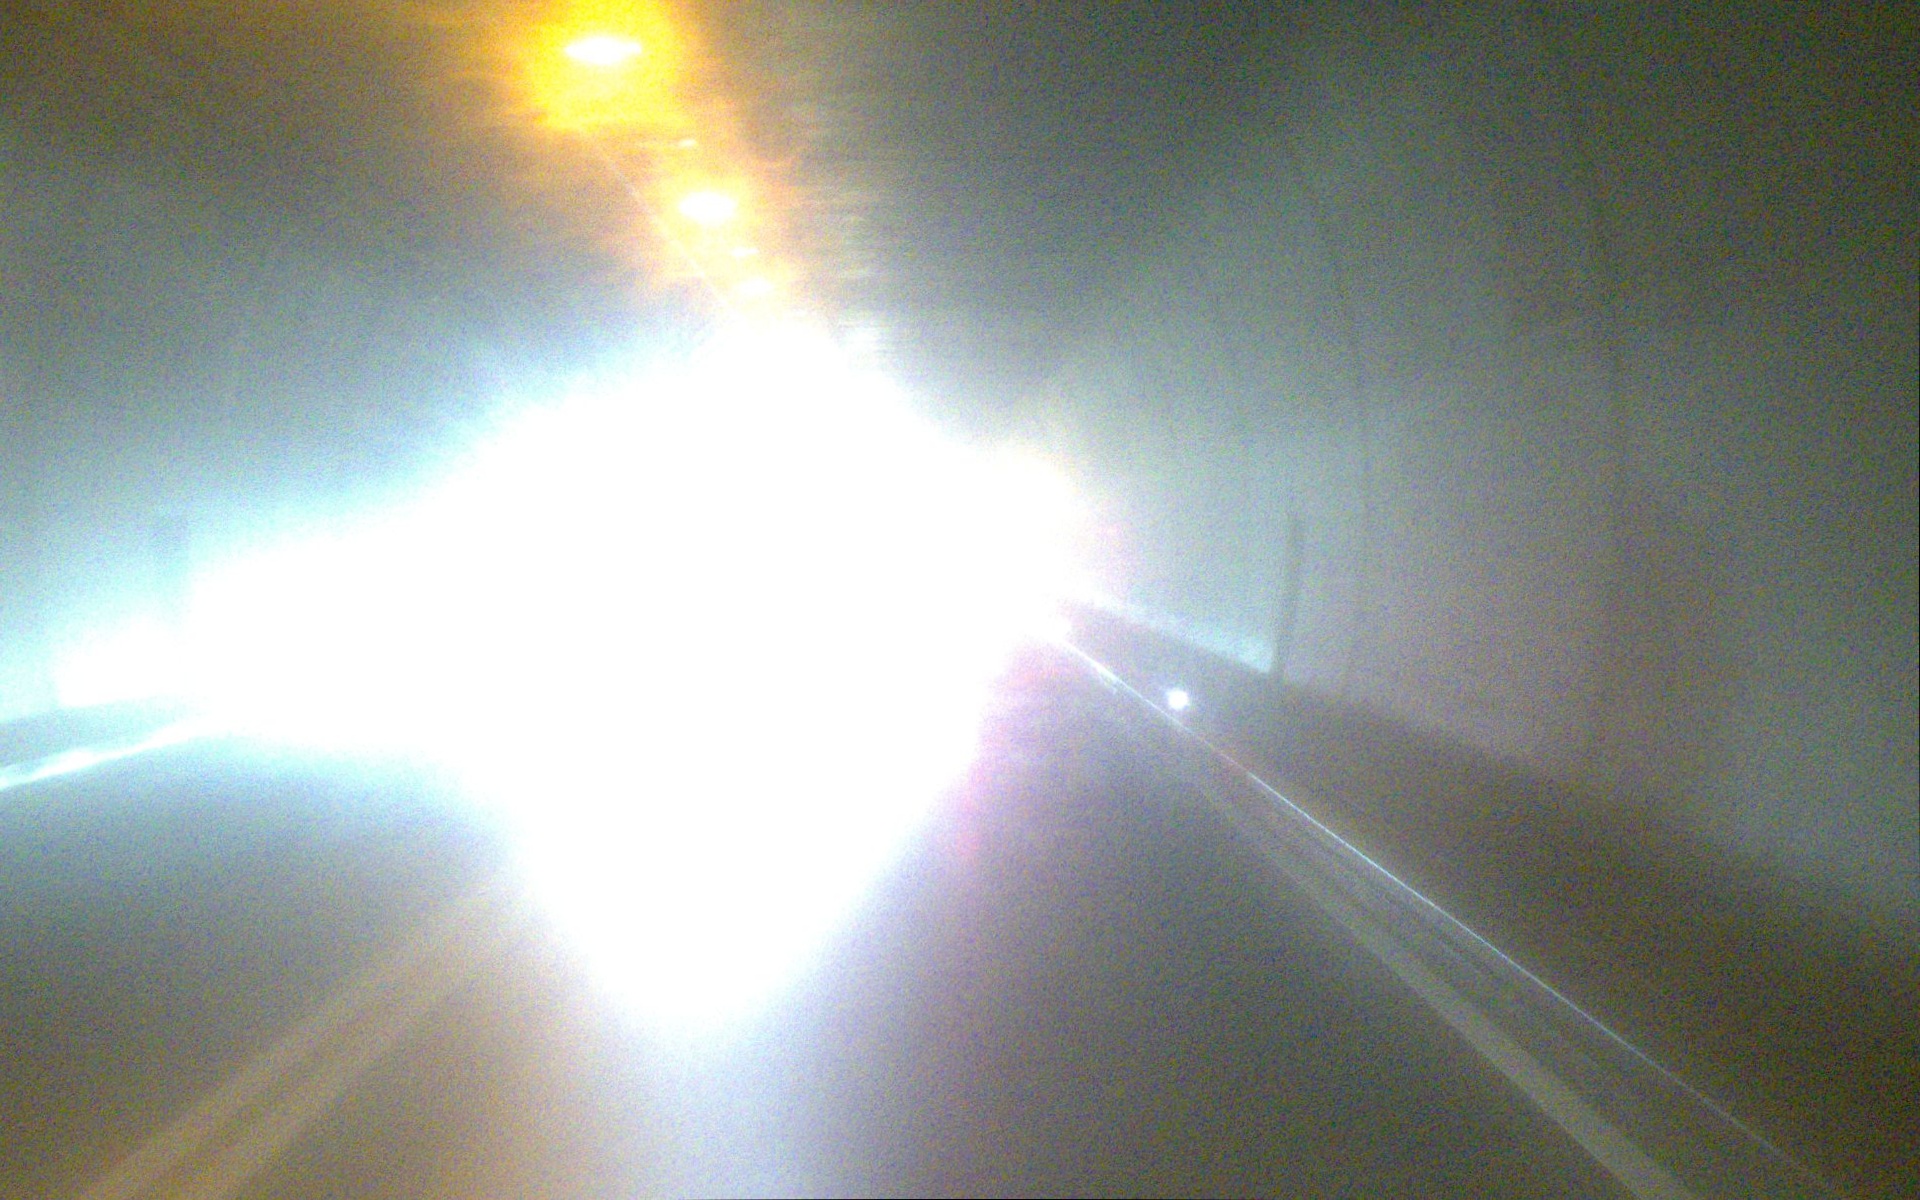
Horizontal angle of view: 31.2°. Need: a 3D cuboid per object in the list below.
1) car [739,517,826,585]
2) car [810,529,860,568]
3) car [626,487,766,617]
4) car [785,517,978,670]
[{"bbox_3d":[-4.443,-1.246,86.510,1.993,1.645,4.000,0,1,-1],"label":"car"},{"bbox_3d":[-4.123,-1.715,114.002,1.551,1.240,4.000,0,1,-1],"label":"car"},{"bbox_3d":[-4.229,-0.790,55.649,1.993,2.007,4.000,0,1,-1],"label":"car"},{"bbox_3d":[-0.876,-0.114,39.457,2.089,1.656,4.000,0,1,-1],"label":"car"}]
